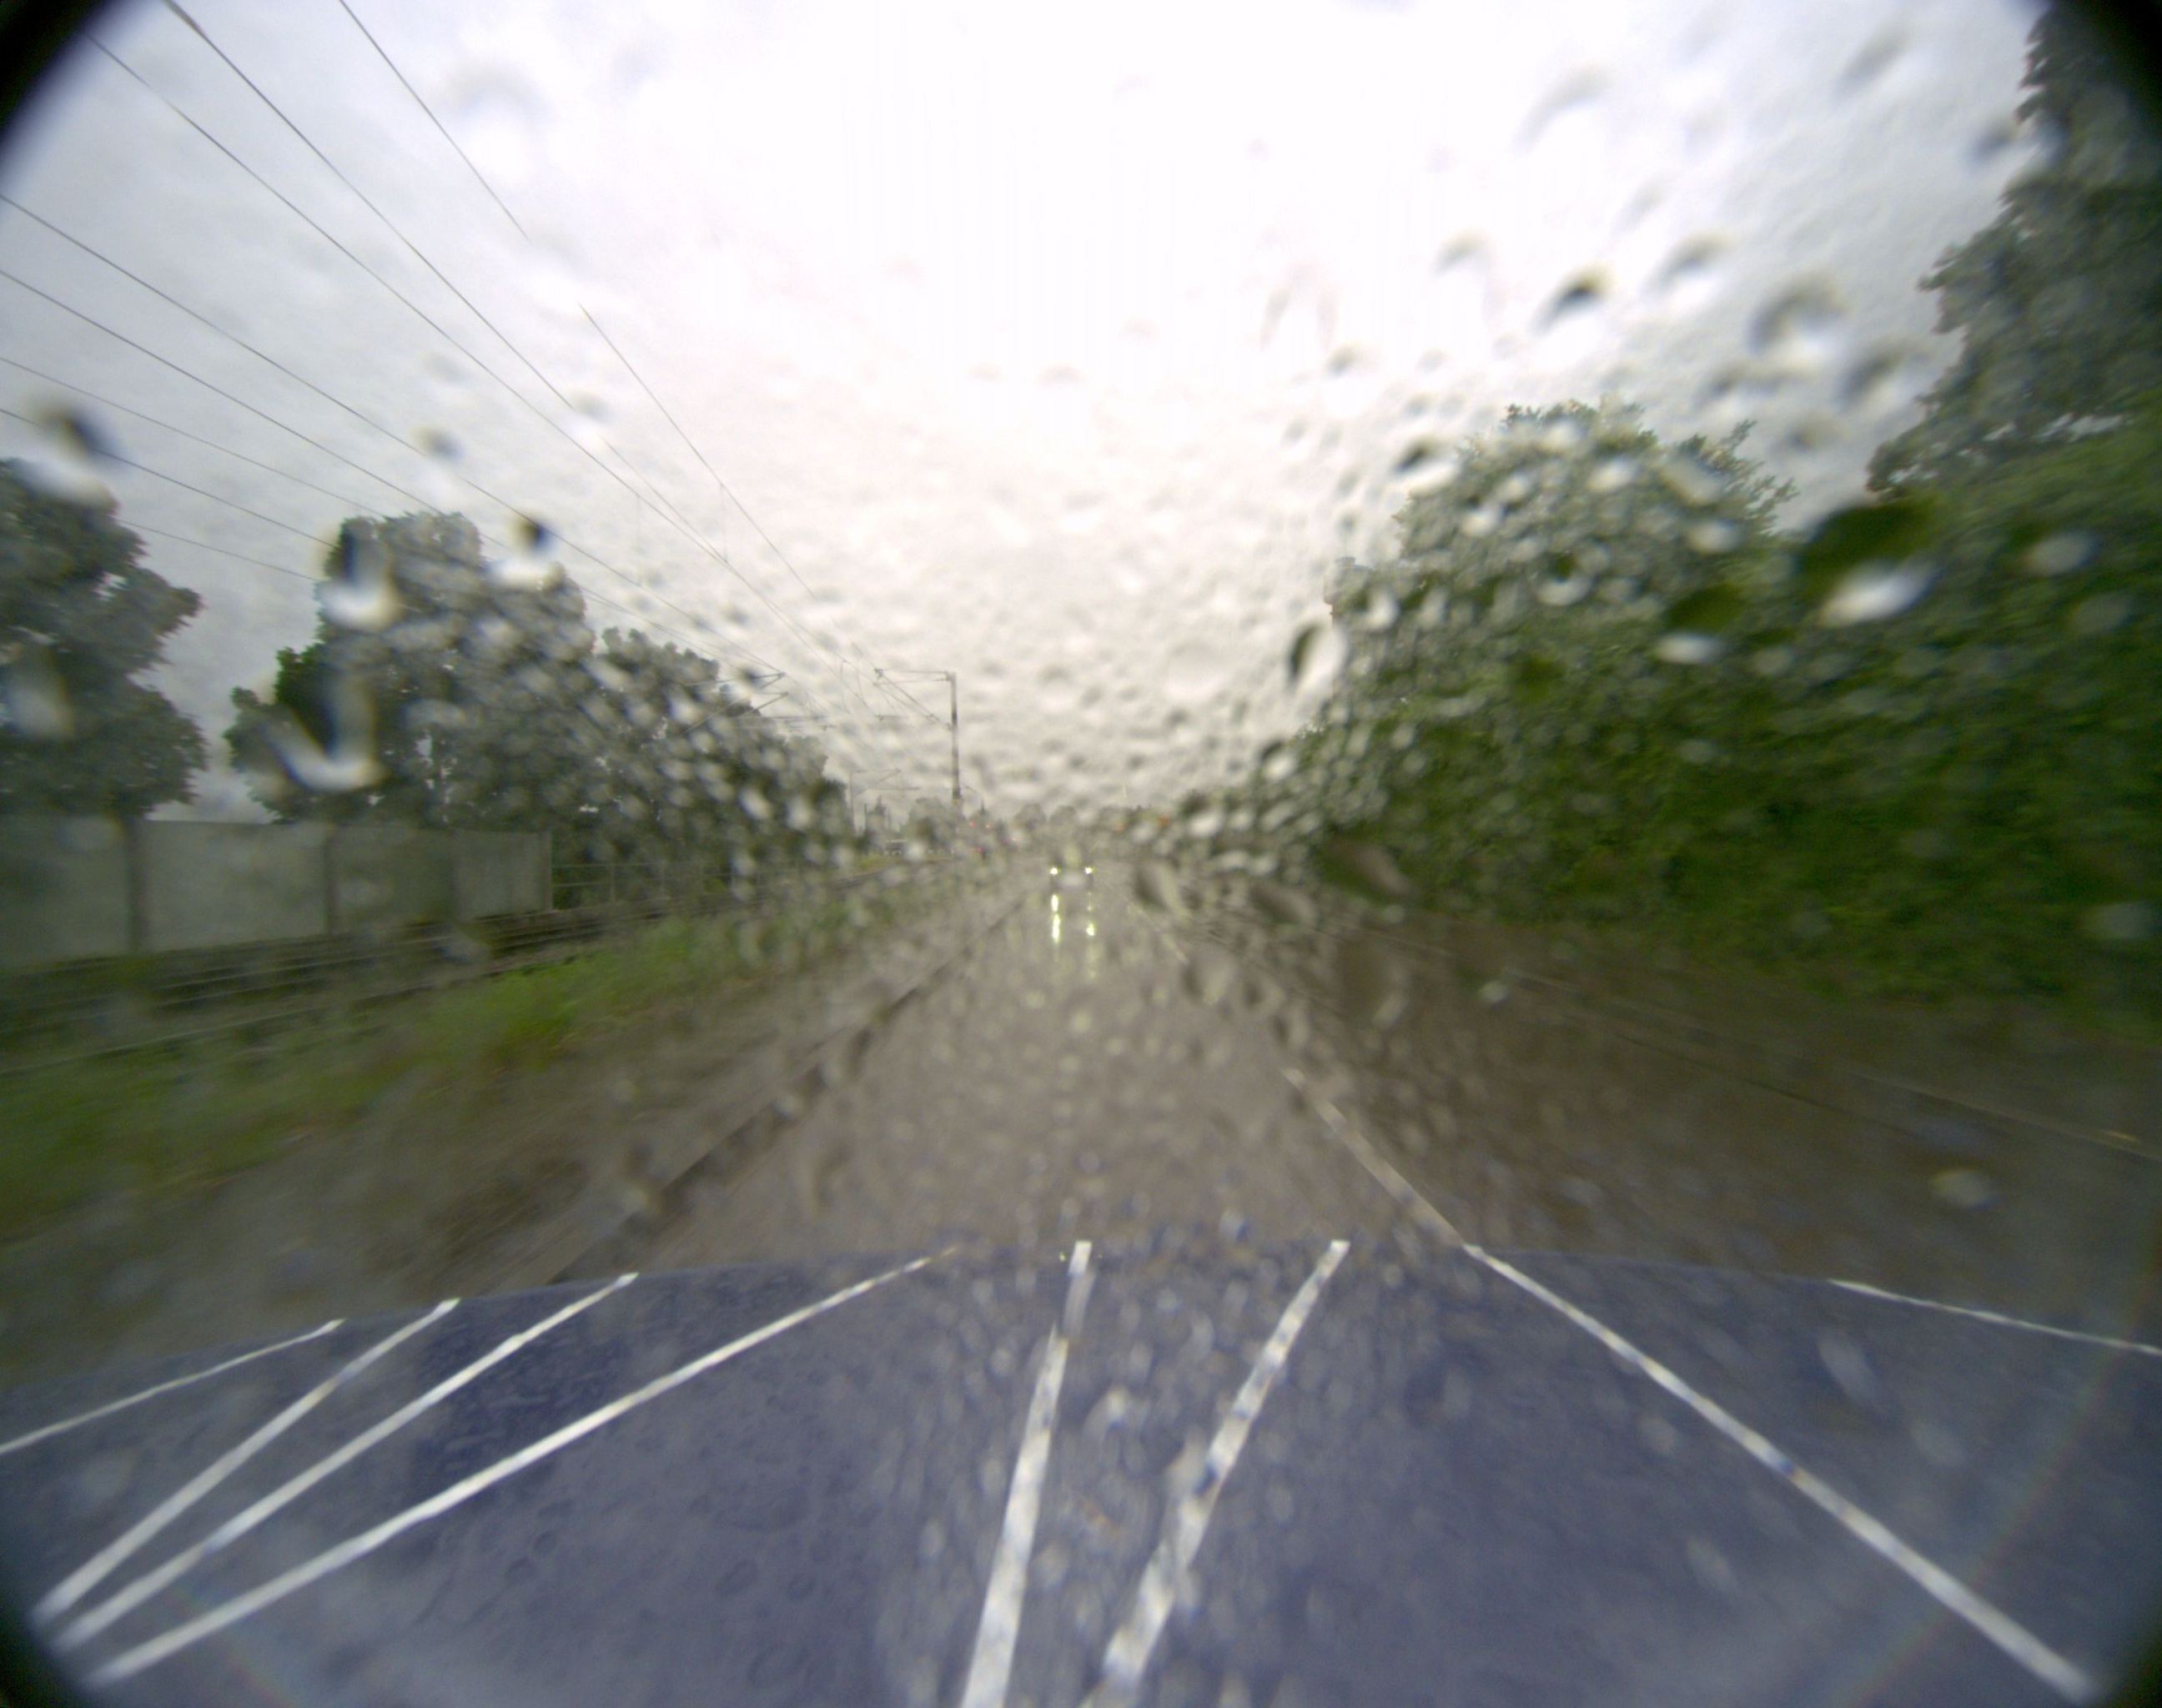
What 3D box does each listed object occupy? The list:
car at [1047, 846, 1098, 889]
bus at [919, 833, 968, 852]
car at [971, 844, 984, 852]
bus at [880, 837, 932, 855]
[{"bbox_3d":[-0.396,0.529,32.722,1.999,1.623,3.998,-2,2,-2],"label":"car"},{"bbox_3d":[-23.936,-1.929,131.892,9.965,3.060,2.683,-1,2,41],"label":"bus"},{"bbox_3d":[-19.042,-1.108,139.439,1.769,1.528,3.870,-1,1,-17],"label":"car"},{"bbox_3d":[-31.825,-1.411,137.900,9.967,3.060,2.683,-1,2,32],"label":"bus"}]
